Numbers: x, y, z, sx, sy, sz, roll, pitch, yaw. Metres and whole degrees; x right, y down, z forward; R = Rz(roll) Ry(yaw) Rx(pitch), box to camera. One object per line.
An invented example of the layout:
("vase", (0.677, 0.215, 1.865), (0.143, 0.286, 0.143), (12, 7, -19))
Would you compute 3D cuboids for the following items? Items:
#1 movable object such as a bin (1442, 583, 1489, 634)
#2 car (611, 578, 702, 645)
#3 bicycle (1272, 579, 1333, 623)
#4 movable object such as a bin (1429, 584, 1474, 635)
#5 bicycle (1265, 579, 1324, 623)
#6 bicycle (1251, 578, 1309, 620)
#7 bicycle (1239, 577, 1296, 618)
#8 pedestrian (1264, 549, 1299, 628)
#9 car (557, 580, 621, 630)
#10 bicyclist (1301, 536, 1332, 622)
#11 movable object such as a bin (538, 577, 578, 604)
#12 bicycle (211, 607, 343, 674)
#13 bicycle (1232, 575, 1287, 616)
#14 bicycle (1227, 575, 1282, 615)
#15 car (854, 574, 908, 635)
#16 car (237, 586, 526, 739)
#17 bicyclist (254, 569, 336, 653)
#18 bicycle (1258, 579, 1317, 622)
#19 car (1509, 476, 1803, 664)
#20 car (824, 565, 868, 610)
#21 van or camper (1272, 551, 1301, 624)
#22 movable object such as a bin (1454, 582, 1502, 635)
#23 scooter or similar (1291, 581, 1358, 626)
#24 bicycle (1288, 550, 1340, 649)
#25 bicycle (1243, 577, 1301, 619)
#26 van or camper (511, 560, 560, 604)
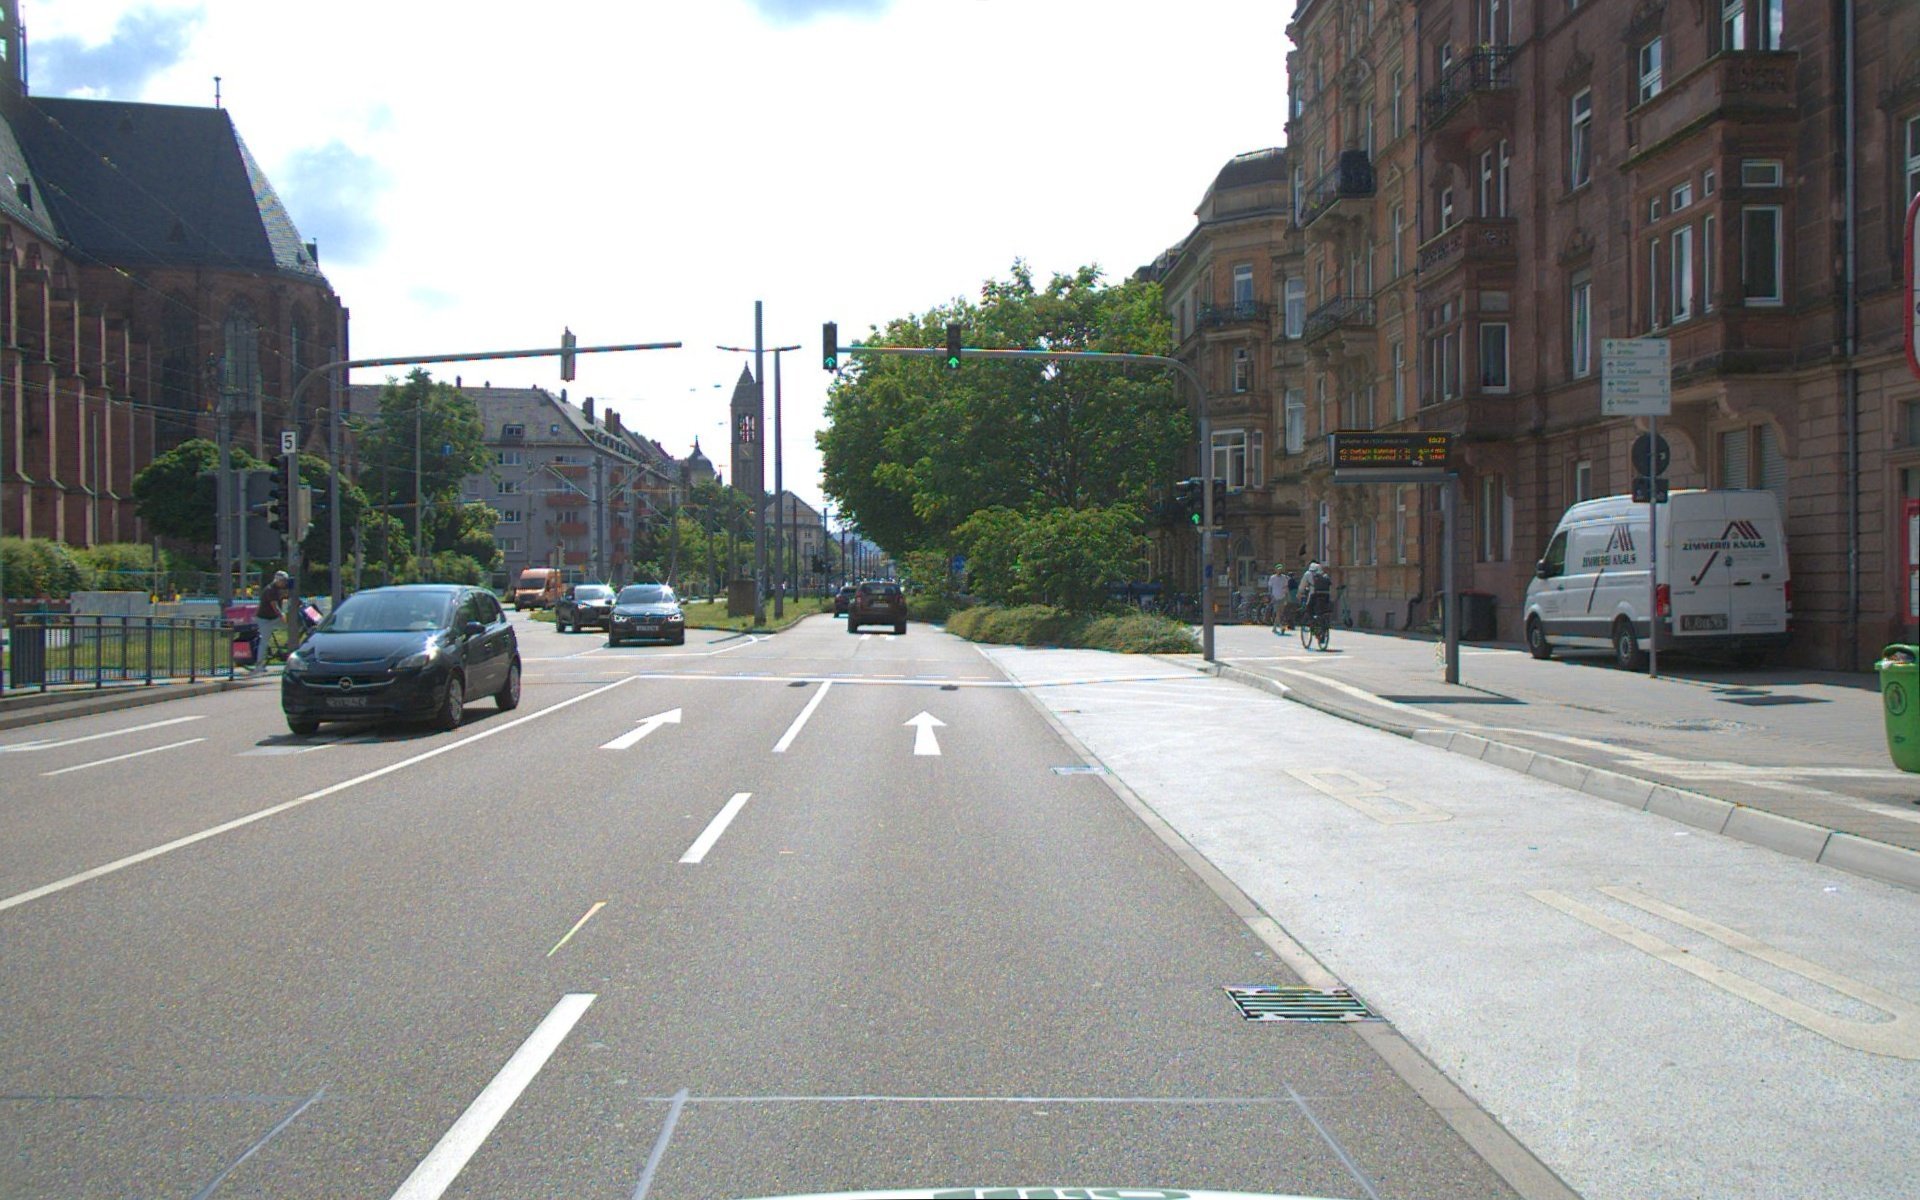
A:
("movable object such as a bin", (11.246, 0.184, 36.804), (0.770, 1.127, 0.776), (-1, 0, -4))
("car", (-7.669, 0.259, 42.134), (1.782, 1.579, 4.556), (-1, 0, -4))
("bicycle", (10.212, 0.024, 49.294), (1.732, 1.290, 0.467), (0, 3, 1))
("movable object such as a bin", (11.201, 0.212, 37.697), (0.770, 1.127, 0.776), (-1, 0, -4))
("bicycle", (10.084, 0.026, 49.873), (1.709, 1.290, 0.467), (0, 3, 1))
("bicycle", (9.926, -0.039, 51.316), (1.732, 1.290, 0.467), (0, 3, 1))
("bicycle", (9.805, -0.074, 52.739), (1.732, 1.290, 0.467), (0, 3, 1))
("pedestrian", (8.491, -0.298, 43.669), (0.752, 2.049, 0.715), (-1, 0, -1))
("car", (-12.263, 0.149, 54.566), (1.770, 1.579, 4.275), (0, 0, -17))
("bicyclist", (7.290, -0.426, 33.838), (0.419, 1.748, 0.828), (0, 0, -1))
("movable object such as a bin", (-27.807, -0.681, 114.613), (2.164, 1.723, 3.714), (-1, 3, -6))
("bicycle", (-12.185, 0.717, 29.534), (1.975, 1.146, 0.932), (-1, 0, 8))
("bicycle", (9.733, -0.144, 53.754), (1.732, 1.290, 0.467), (0, 3, 1))
("bicycle", (9.699, -0.175, 54.414), (1.732, 1.290, 0.467), (0, 3, 1))
("car", (-2.546, 0.109, 52.700), (1.655, 1.740, 3.607), (-1, 3, -4))
("car", (-6.044, 0.580, 17.751), (1.877, 1.442, 3.740), (-1, 1, -2))
("bicyclist", (-11.862, 0.197, 29.535), (1.066, 1.461, 0.825), (-1, 0, 8))
("bicycle", (9.998, 0.003, 50.548), (1.732, 1.290, 0.467), (0, 3, 1))
("car", (10.578, -0.458, 25.754), (1.953, 2.569, 5.887), (0, 1, -2))
("car", (-5.351, -0.587, 77.121), (1.954, 2.049, 3.996), (-1, 1, -5))
("van or camper", (9.247, -0.359, 46.866), (0.652, 2.049, 0.638), (-1, 0, -2))
("movable object such as a bin", (11.285, 0.181, 36.049), (0.770, 1.127, 0.776), (-1, 0, -4))
("scooter or similar", (10.280, 0.094, 46.622), (1.733, 1.205, 0.466), (-2, 0, -2))
("bicycle", (7.228, -0.022, 33.784), (0.669, 1.959, 1.589), (-1, 0, -1))
("bicycle", (9.826, -0.072, 52.115), (1.732, 1.290, 0.467), (0, 3, 1))
("van or camper", (-27.741, -1.147, 108.254), (2.212, 2.785, 6.195), (-1, 0, -6))
